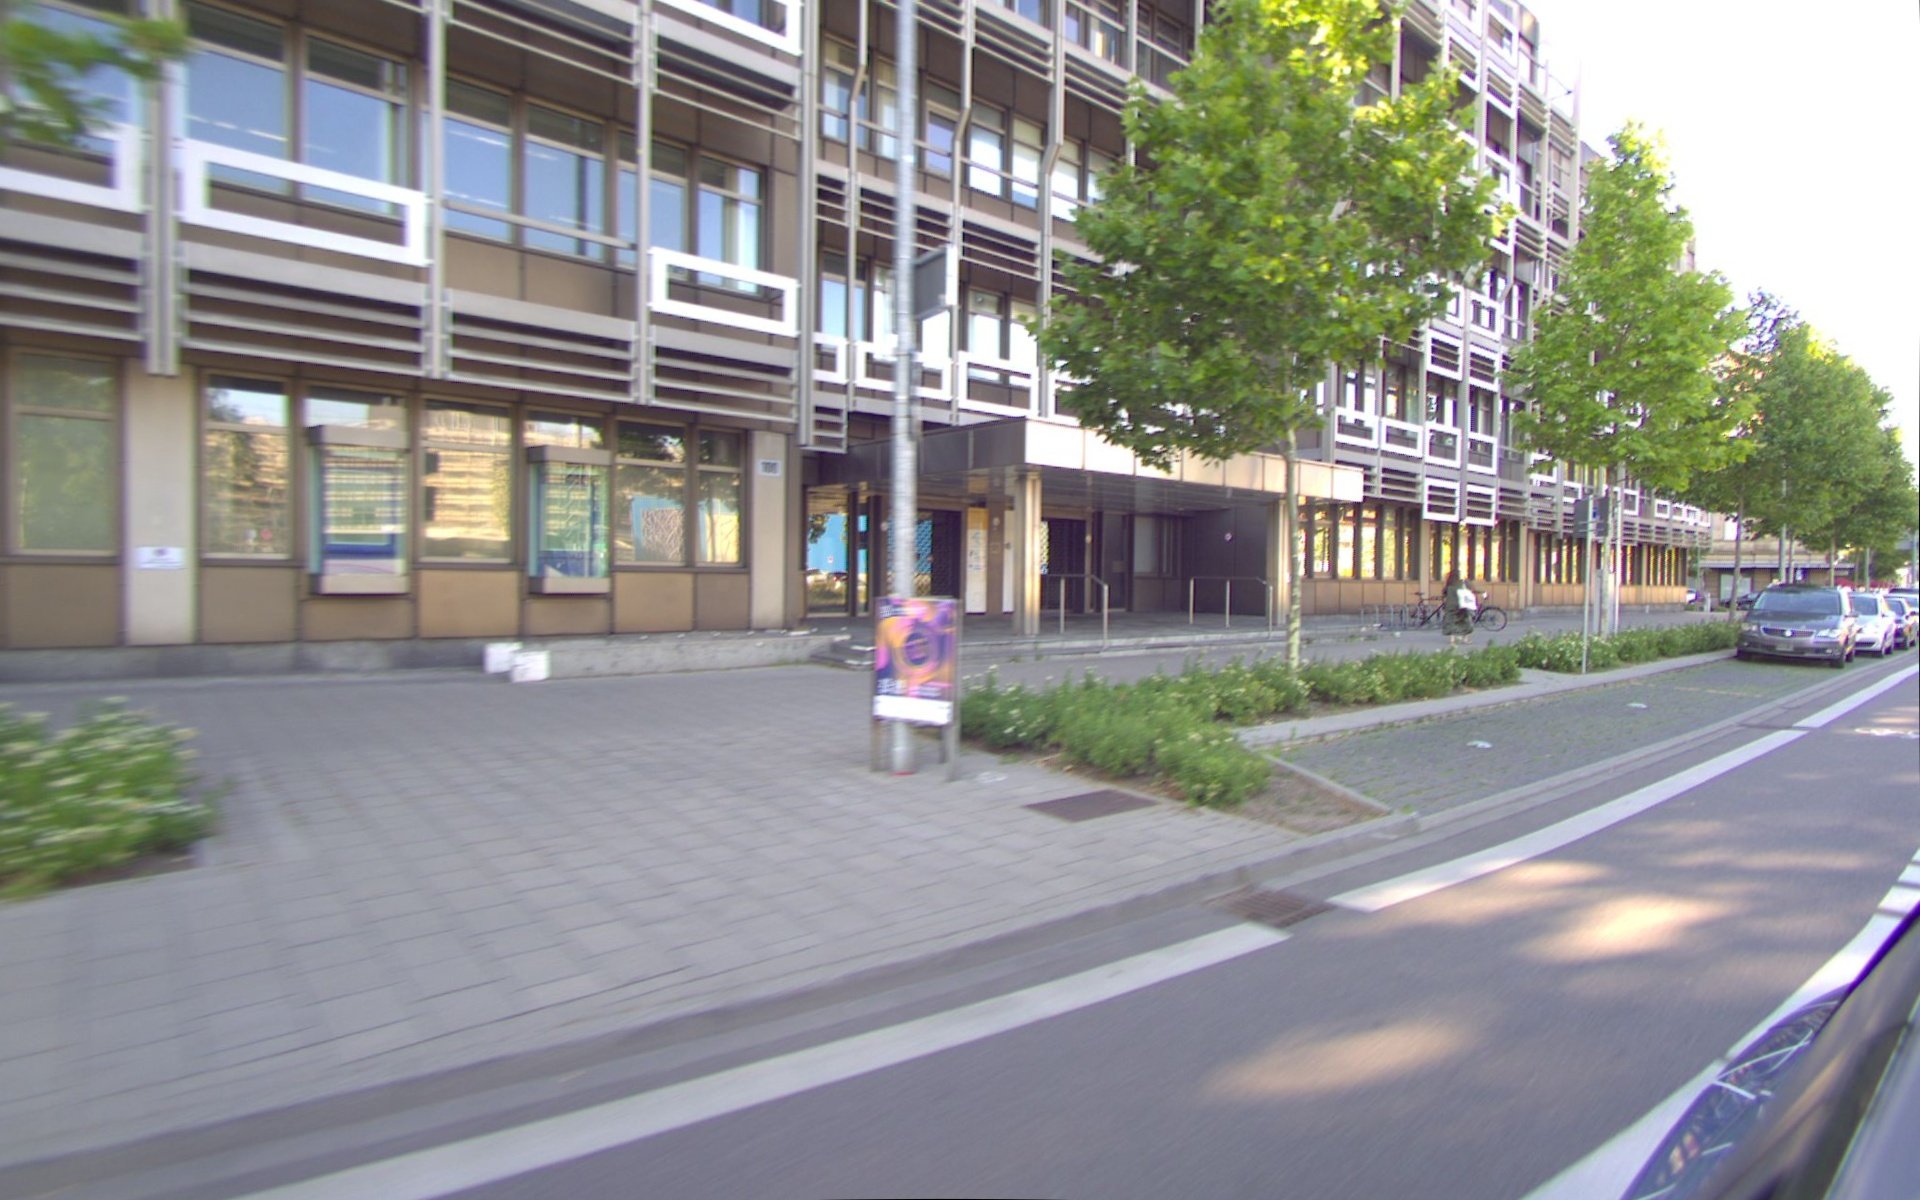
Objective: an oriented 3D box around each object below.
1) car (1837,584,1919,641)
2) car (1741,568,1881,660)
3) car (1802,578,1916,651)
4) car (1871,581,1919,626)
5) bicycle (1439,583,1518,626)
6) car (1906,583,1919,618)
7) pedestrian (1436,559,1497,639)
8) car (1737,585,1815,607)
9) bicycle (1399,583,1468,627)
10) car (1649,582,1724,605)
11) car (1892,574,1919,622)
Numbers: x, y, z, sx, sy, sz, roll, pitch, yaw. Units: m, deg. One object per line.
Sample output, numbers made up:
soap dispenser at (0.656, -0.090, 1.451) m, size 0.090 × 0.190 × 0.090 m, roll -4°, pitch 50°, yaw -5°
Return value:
car at (26.959, 0.330, 29.309) m, size 4.301 × 1.467 × 1.798 m, roll 0°, pitch 3°, yaw -42°
car at (18.379, 0.248, 21.789) m, size 4.438 × 1.709 × 1.731 m, roll 0°, pitch 3°, yaw -43°
car at (22.949, 0.320, 25.786) m, size 4.145 × 1.641 × 1.731 m, roll 0°, pitch 3°, yaw -43°
car at (34.746, 0.132, 36.974) m, size 4.131 × 1.508 × 1.667 m, roll 0°, pitch 3°, yaw -42°
bicycle at (14.468, 0.101, 28.290) m, size 1.900 × 1.106 × 0.386 m, roll 3°, pitch 3°, yaw 44°
car at (47.003, 0.041, 48.721) m, size 1.930 × 1.618 × 4.629 m, roll 4°, pitch 3°, yaw 41°
pedestrian at (10.980, -0.031, 21.944) m, size 1.117 × 1.668 × 0.790 m, roll 0°, pitch 2°, yaw -41°
car at (58.344, -0.311, 72.490) m, size 4.251 × 1.468 × 1.839 m, roll 1°, pitch 2°, yaw 37°
bicycle at (12.592, 0.120, 26.957) m, size 0.385 × 1.095 × 1.631 m, roll 0°, pitch 2°, yaw -39°
car at (54.231, -0.497, 75.609) m, size 4.529 × 1.615 × 1.839 m, roll 1°, pitch 2°, yaw 37°
car at (41.670, -0.073, 43.775) m, size 4.321 × 1.942 × 1.736 m, roll 0°, pitch 3°, yaw -45°
